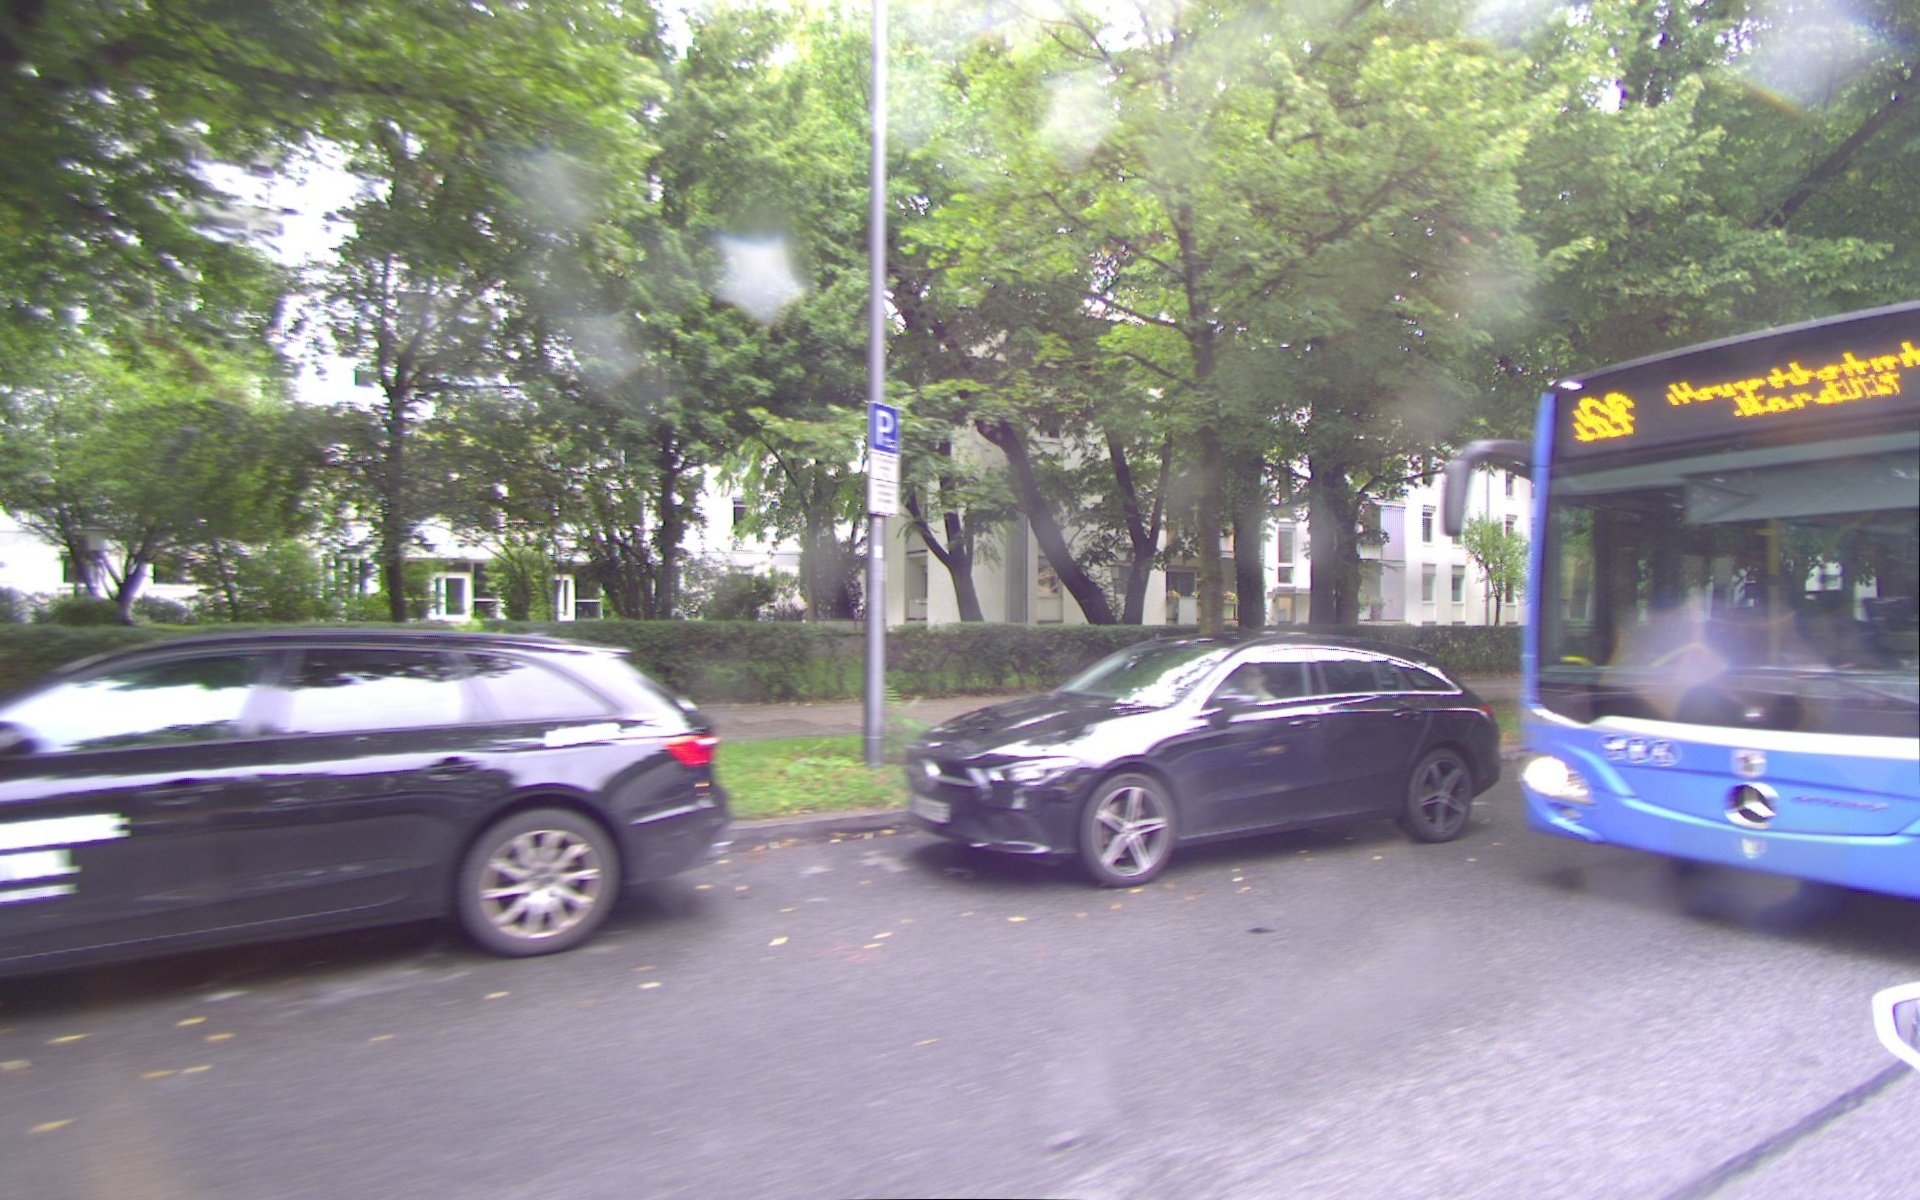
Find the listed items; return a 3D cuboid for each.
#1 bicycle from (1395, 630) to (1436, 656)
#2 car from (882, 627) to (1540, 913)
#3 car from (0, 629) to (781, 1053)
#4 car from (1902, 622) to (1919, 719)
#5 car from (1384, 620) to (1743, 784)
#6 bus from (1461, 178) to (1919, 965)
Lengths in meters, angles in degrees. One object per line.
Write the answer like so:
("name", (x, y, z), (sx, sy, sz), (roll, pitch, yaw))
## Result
("bicycle", (18.662, 1.746, 41.132), (1.884, 1.051, 0.636), (1, 0, -35))
("car", (1.855, 0.936, 7.095), (4.494, 1.457, 1.783), (1, -1, -28))
("car", (-3.273, 0.879, 4.608), (4.524, 1.457, 1.782), (1, -1, -30))
("car", (18.196, 1.223, 17.330), (4.534, 1.618, 1.774), (2, -1, -32))
("car", (6.598, 1.002, 10.888), (3.905, 1.473, 1.780), (2, -2, -32))
("bus", (11.438, 0.206, 9.482), (18.220, 3.282, 2.844), (2, -2, -32))
